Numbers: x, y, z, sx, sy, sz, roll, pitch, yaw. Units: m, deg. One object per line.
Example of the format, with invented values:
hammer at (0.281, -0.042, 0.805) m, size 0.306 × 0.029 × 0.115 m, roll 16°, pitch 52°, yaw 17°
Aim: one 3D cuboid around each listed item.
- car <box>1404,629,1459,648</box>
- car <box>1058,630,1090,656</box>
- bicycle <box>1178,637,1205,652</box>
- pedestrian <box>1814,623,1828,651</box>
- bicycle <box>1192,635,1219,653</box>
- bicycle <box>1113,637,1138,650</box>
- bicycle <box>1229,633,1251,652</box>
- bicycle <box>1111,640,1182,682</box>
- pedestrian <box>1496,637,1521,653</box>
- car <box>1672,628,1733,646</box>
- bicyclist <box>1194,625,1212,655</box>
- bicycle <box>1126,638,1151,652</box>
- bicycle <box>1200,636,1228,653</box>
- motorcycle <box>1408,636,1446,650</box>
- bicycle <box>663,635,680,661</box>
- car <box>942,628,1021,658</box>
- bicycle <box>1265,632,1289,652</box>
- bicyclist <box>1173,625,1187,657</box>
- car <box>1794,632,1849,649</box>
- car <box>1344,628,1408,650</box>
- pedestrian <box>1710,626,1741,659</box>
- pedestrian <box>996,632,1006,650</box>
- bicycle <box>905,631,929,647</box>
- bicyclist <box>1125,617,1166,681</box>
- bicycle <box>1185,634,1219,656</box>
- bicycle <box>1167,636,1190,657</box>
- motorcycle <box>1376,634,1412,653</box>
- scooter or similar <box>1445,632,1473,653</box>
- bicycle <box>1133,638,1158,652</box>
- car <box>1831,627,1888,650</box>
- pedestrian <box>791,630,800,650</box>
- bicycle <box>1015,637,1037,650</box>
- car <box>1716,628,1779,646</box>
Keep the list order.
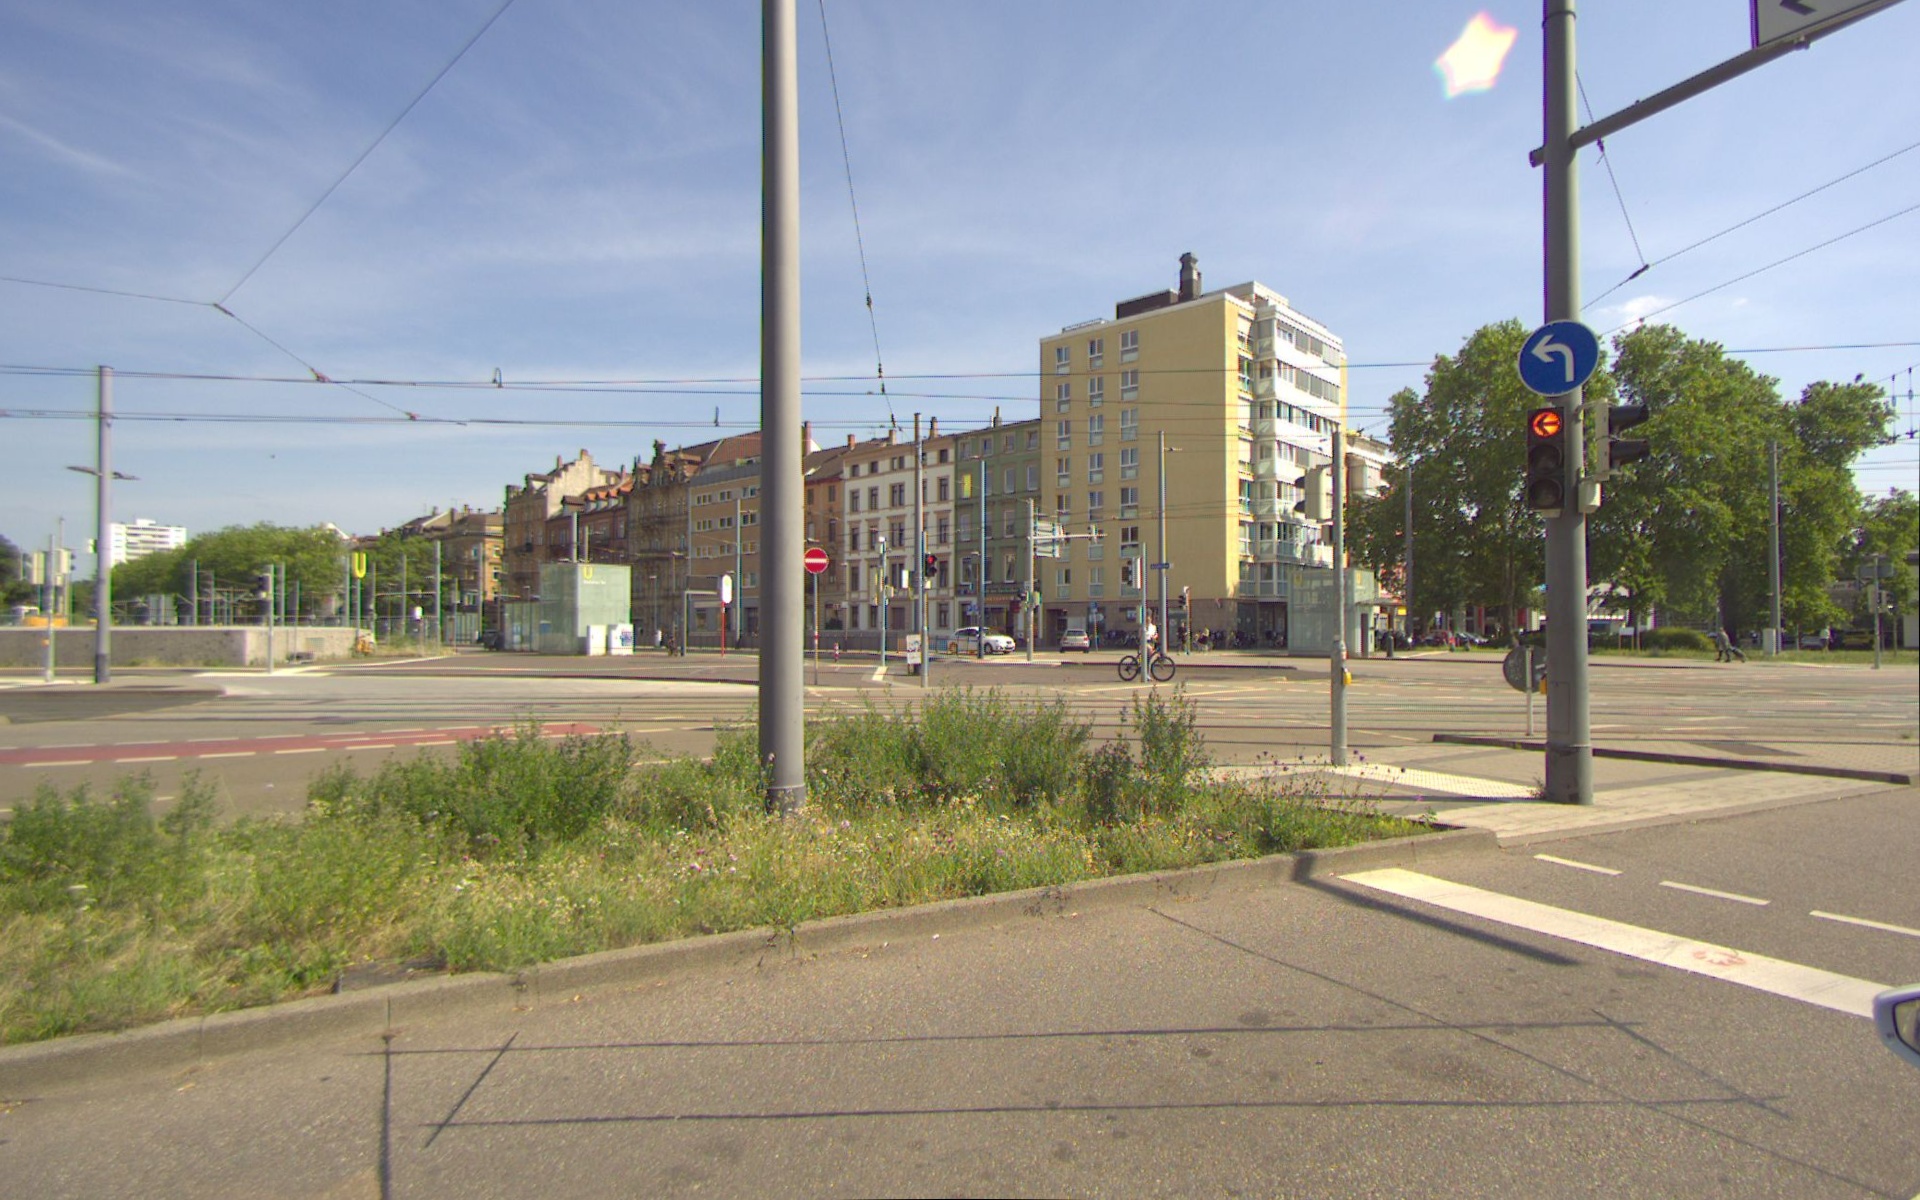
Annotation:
car at (38.894, 3.178, 82.884) m, size 3.684 × 1.358 × 1.733 m, roll 1°, pitch 0°, yaw 44°
car at (7.004, 2.669, 62.075) m, size 1.777 × 1.458 × 4.004 m, roll 1°, pitch -4°, yaw 4°
bicycle at (15.300, 2.947, 66.349) m, size 0.579 × 0.978 × 1.736 m, roll 0°, pitch -2°, yaw -41°
pedestrian at (51.761, 2.213, 60.376) m, size 0.455 × 1.617 × 0.393 m, roll 2°, pitch 0°, yaw -6°
bicycle at (15.864, 2.861, 64.982) m, size 0.578 × 1.100 × 1.740 m, roll -3°, pitch 0°, yaw -34°
bicycle at (11.531, 3.041, 70.041) m, size 1.733 × 0.928 × 0.580 m, roll -2°, pitch -2°, yaw 44°
bicycle at (18.350, 2.789, 65.767) m, size 0.534 × 1.201 × 1.878 m, roll -1°, pitch -2°, yaw 45°
bicycle at (5.041, 1.650, 27.273) m, size 0.745 × 1.098 × 1.828 m, roll 2°, pitch -4°, yaw -40°
pedestrian at (32.292, 2.652, 59.111) m, size 1.159 × 0.904 × 0.818 m, roll -1°, pitch -2°, yaw 41°
car at (66.622, 3.303, 90.195) m, size 1.976 × 1.390 × 3.968 m, roll 2°, pitch 0°, yaw -30°
bicyclist at (13.096, 2.175, 54.045) m, size 0.605 × 1.593 × 0.728 m, roll 1°, pitch -3°, yaw -29°
bicycle at (12.224, 3.055, 68.711) m, size 0.579 × 0.928 × 1.737 m, roll 0°, pitch -2°, yaw -39°
bicycle at (16.492, 2.869, 65.207) m, size 0.579 × 1.056 × 1.737 m, roll 0°, pitch -2°, yaw -40°
motorcycle at (28.316, 2.584, 60.957) m, size 1.997 × 0.853 × 0.641 m, roll 0°, pitch -1°, yaw 4°
bicycle at (-13.179, 2.187, 45.901) m, size 0.408 × 1.085 × 1.651 m, roll 0°, pitch 0°, yaw -28°
car at (1.119, 2.283, 53.671) m, size 4.067 × 1.417 × 1.749 m, roll -1°, pitch 1°, yaw 43°
bicycle at (20.455, 2.726, 64.858) m, size 1.740 × 1.235 × 0.578 m, roll 0°, pitch -1°, yaw -37°
bicyclist at (12.105, 2.265, 55.277) m, size 0.575 × 1.757 × 0.615 m, roll -2°, pitch -3°, yaw 37°
car at (70.167, 3.274, 81.825) m, size 3.946 × 1.261 × 1.988 m, roll 2°, pitch 0°, yaw -25°
car at (30.508, 2.836, 73.675) m, size 3.945 × 1.459 × 1.879 m, roll 1°, pitch 0°, yaw 44°
pedestrian at (34.764, 1.927, 45.621) m, size 1.100 × 1.422 × 0.654 m, roll 2°, pitch 0°, yaw 39°
pedestrian at (3.194, 3.185, 78.292) m, size 0.637 × 1.392 × 0.524 m, roll -1°, pitch -2°, yaw 43°
bicycle at (-3.042, 2.737, 71.244) m, size 0.589 × 1.109 × 1.738 m, roll 0°, pitch -2°, yaw 43°
bicyclist at (5.042, 1.334, 27.265) m, size 0.745 × 1.706 × 0.768 m, roll 2°, pitch -4°, yaw -40°
bicycle at (13.010, 2.397, 54.010) m, size 1.775 × 1.145 × 0.749 m, roll 1°, pitch -2°, yaw -30°
bicycle at (12.083, 2.578, 55.445) m, size 0.575 × 1.145 × 1.790 m, roll -2°, pitch -3°, yaw 37°
motorcycle at (24.781, 2.459, 57.383) m, size 0.631 × 1.076 × 2.028 m, roll 0°, pitch -2°, yaw -22°
scooter or similar at (27.086, 2.318, 54.529) m, size 0.509 × 1.134 × 1.358 m, roll 0°, pitch -1°, yaw -19°
bicycle at (12.733, 3.072, 68.943) m, size 0.579 × 0.928 × 1.737 m, roll 0°, pitch -2°, yaw -39°
car at (71.642, 3.087, 79.966) m, size 3.946 × 1.706 × 1.987 m, roll 2°, pitch 0°, yaw -25°
pedestrian at (-13.692, 3.324, 83.701) m, size 0.518 × 1.687 × 0.551 m, roll -2°, pitch -2°, yaw 43°
bicycle at (4.986, 3.302, 76.306) m, size 1.755 × 0.977 × 0.412 m, roll -2°, pitch 0°, yaw 43°
car at (70.322, 3.243, 89.714) m, size 1.977 × 1.572 × 3.967 m, roll 1°, pitch -2°, yaw -31°
